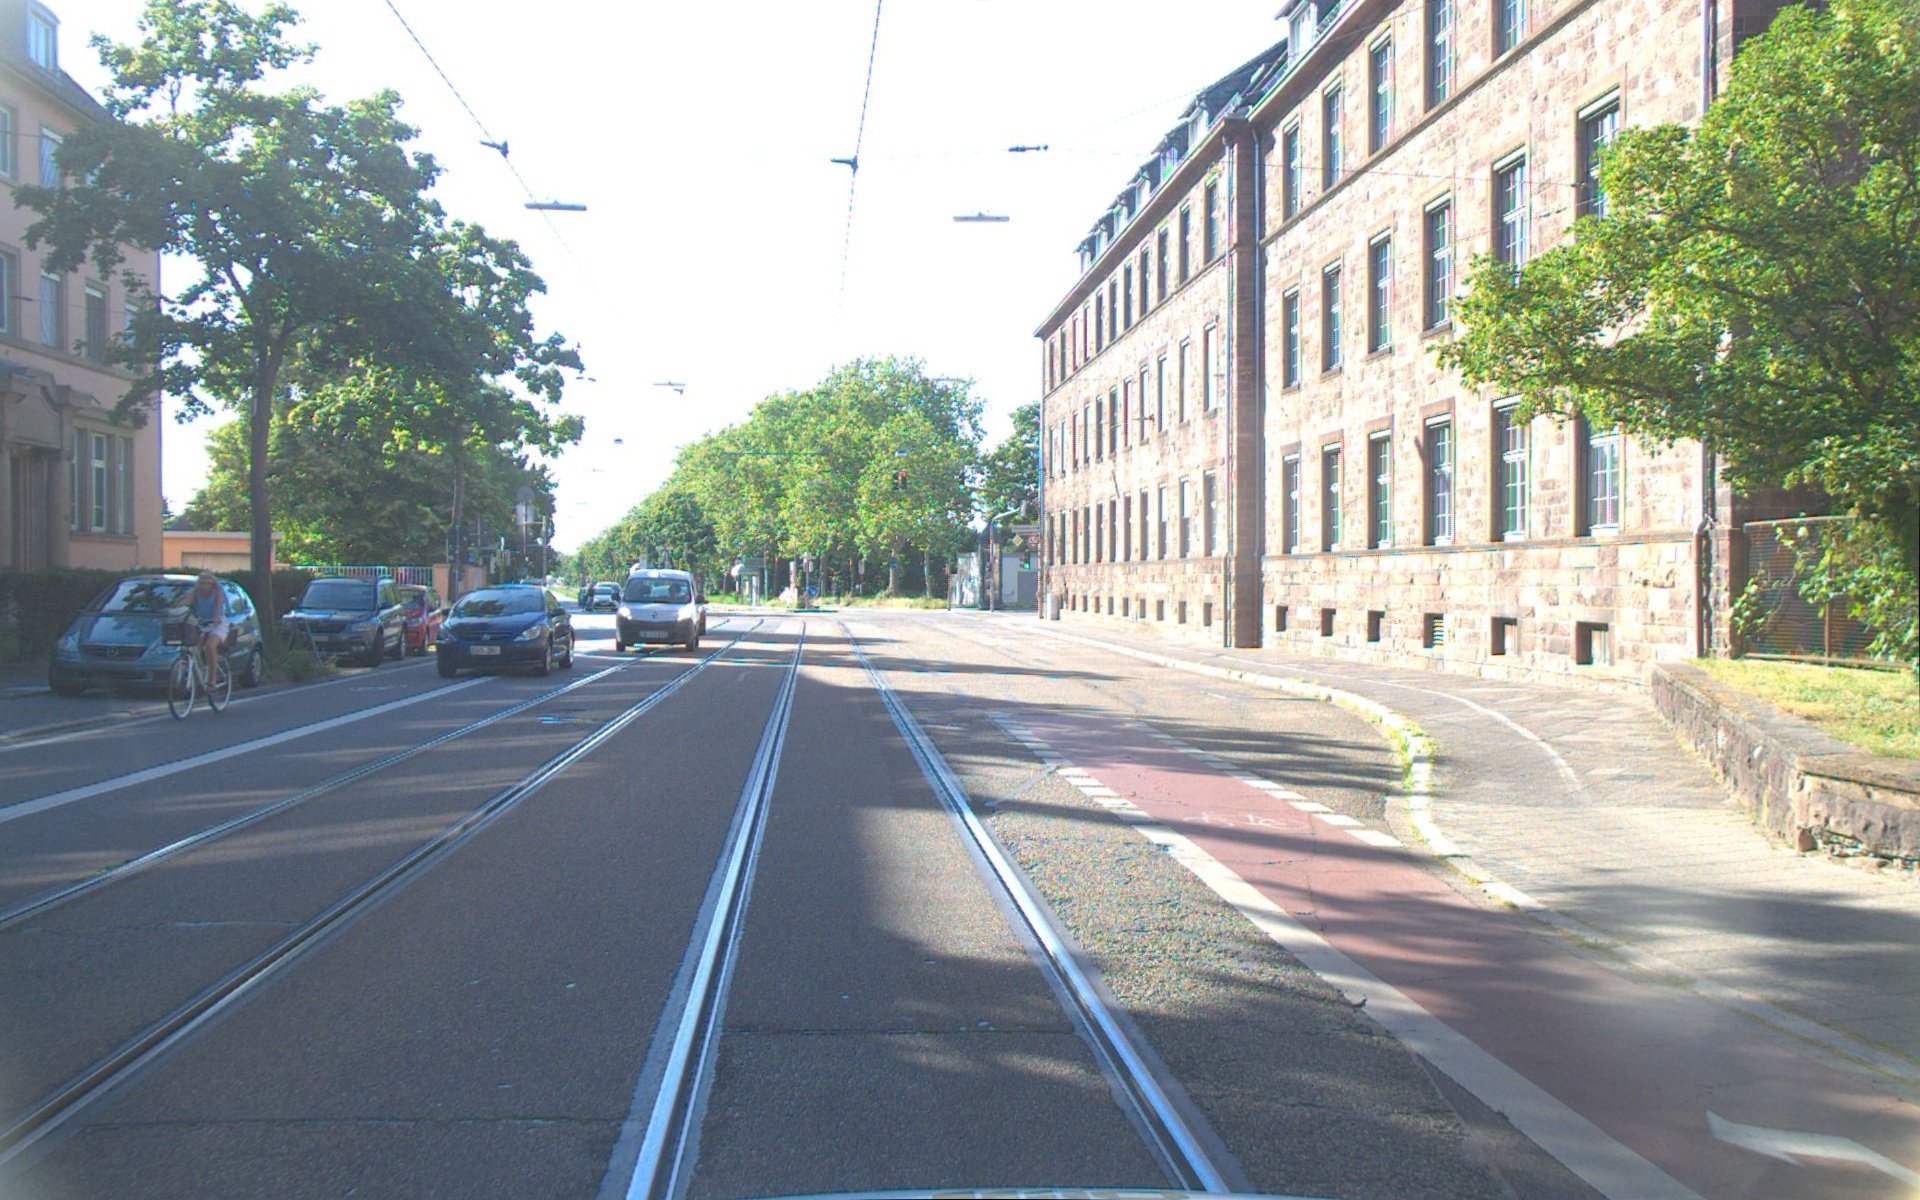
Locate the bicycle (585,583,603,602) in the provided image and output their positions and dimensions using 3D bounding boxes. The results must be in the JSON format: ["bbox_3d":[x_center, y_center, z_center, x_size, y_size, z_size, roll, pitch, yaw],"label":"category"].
[{"bbox_3d":[-21.304,-0.437,96.332,0.738,1.106,2.164,0,1,-20],"label":"bicycle"}]

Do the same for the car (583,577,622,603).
[{"bbox_3d":[-21.686,-0.626,100.263,1.963,1.530,3.979,0,1,-18],"label":"car"}]

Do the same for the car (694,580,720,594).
[{"bbox_3d":[-29.961,-1.525,195.786,1.918,1.638,3.967,0,1,-26],"label":"car"}]

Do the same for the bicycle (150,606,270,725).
[{"bbox_3d":[-8.562,0.710,18.982,0.547,1.219,2.288,-4,1,-8],"label":"bicycle"}]

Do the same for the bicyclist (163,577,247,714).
[{"bbox_3d":[-8.537,0.497,18.724,0.547,1.482,0.868,-4,1,-8],"label":"bicyclist"}]

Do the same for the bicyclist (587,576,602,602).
[{"bbox_3d":[-21.282,-0.645,96.293,0.738,1.530,0.959,0,1,-20],"label":"bicyclist"}]

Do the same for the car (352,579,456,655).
[{"bbox_3d":[-12.174,0.337,36.401,1.553,1.514,3.605,2,1,-9],"label":"car"}]

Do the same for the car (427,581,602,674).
[{"bbox_3d":[-7.285,0.394,27.514,1.773,1.411,4.440,0,1,-1],"label":"car"}]

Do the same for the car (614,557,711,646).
[{"bbox_3d":[-6.787,0.001,38.104,1.774,1.921,4.436,0,1,-5],"label":"car"}]

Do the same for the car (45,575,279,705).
[{"bbox_3d":[-11.031,0.488,23.173,1.712,1.597,4.063,2,1,-8],"label":"car"}]

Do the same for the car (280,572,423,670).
[{"bbox_3d":[-11.616,0.340,31.830,1.713,1.689,4.381,2,1,-9],"label":"car"}]

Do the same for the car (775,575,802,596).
[{"bbox_3d":[-14.097,-1.186,135.610,1.907,1.638,3.990,0,1,-10],"label":"car"}]

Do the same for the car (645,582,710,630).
[{"bbox_3d":[-8.765,0.148,51.612,1.885,1.411,4.678,0,1,-8],"label":"car"}]
